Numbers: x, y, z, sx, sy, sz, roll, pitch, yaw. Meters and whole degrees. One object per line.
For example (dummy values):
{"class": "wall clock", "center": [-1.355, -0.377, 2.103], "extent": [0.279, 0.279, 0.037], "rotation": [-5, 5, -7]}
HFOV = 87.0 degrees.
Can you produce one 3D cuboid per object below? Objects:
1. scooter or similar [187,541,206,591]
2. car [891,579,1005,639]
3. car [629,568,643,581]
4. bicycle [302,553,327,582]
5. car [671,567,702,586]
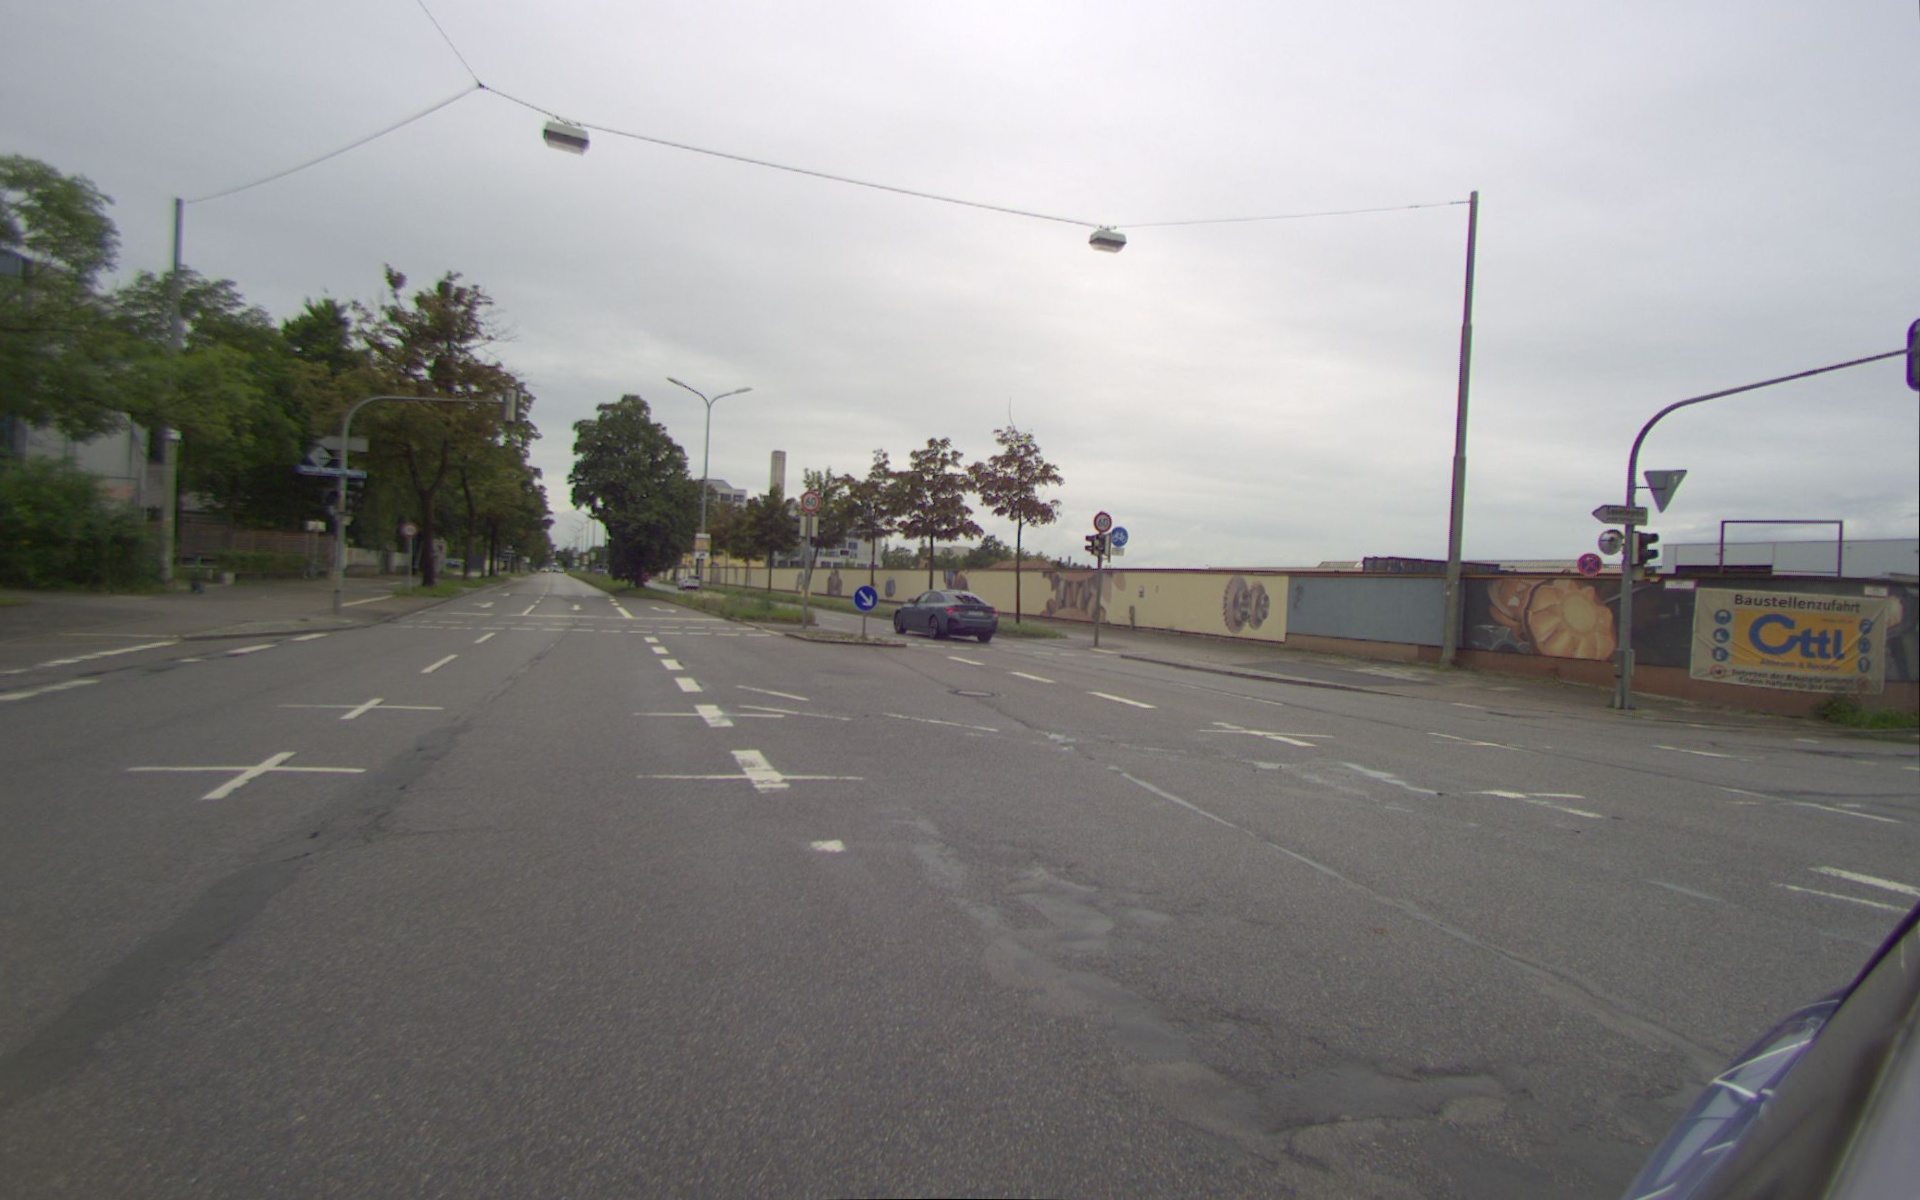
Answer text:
{"class": "scooter or similar", "center": [-22.915, -1.034, 30.381], "extent": [0.364, 1.442, 1.405], "rotation": [4, 0, -37]}
{"class": "car", "center": [-0.447, 0.214, 30.436], "extent": [1.877, 1.526, 4.449], "rotation": [4, 0, -22]}
{"class": "car", "center": [-45.965, -3.642, 143.541], "extent": [1.458, 1.737, 3.558], "rotation": [4, 0, -23]}
{"class": "bicycle", "center": [-30.700, -1.537, 48.157], "extent": [0.572, 1.312, 2.459], "rotation": [4, 0, -24]}
{"class": "car", "center": [-24.429, -2.138, 90.250], "extent": [1.845, 1.486, 4.511], "rotation": [4, 0, -25]}
